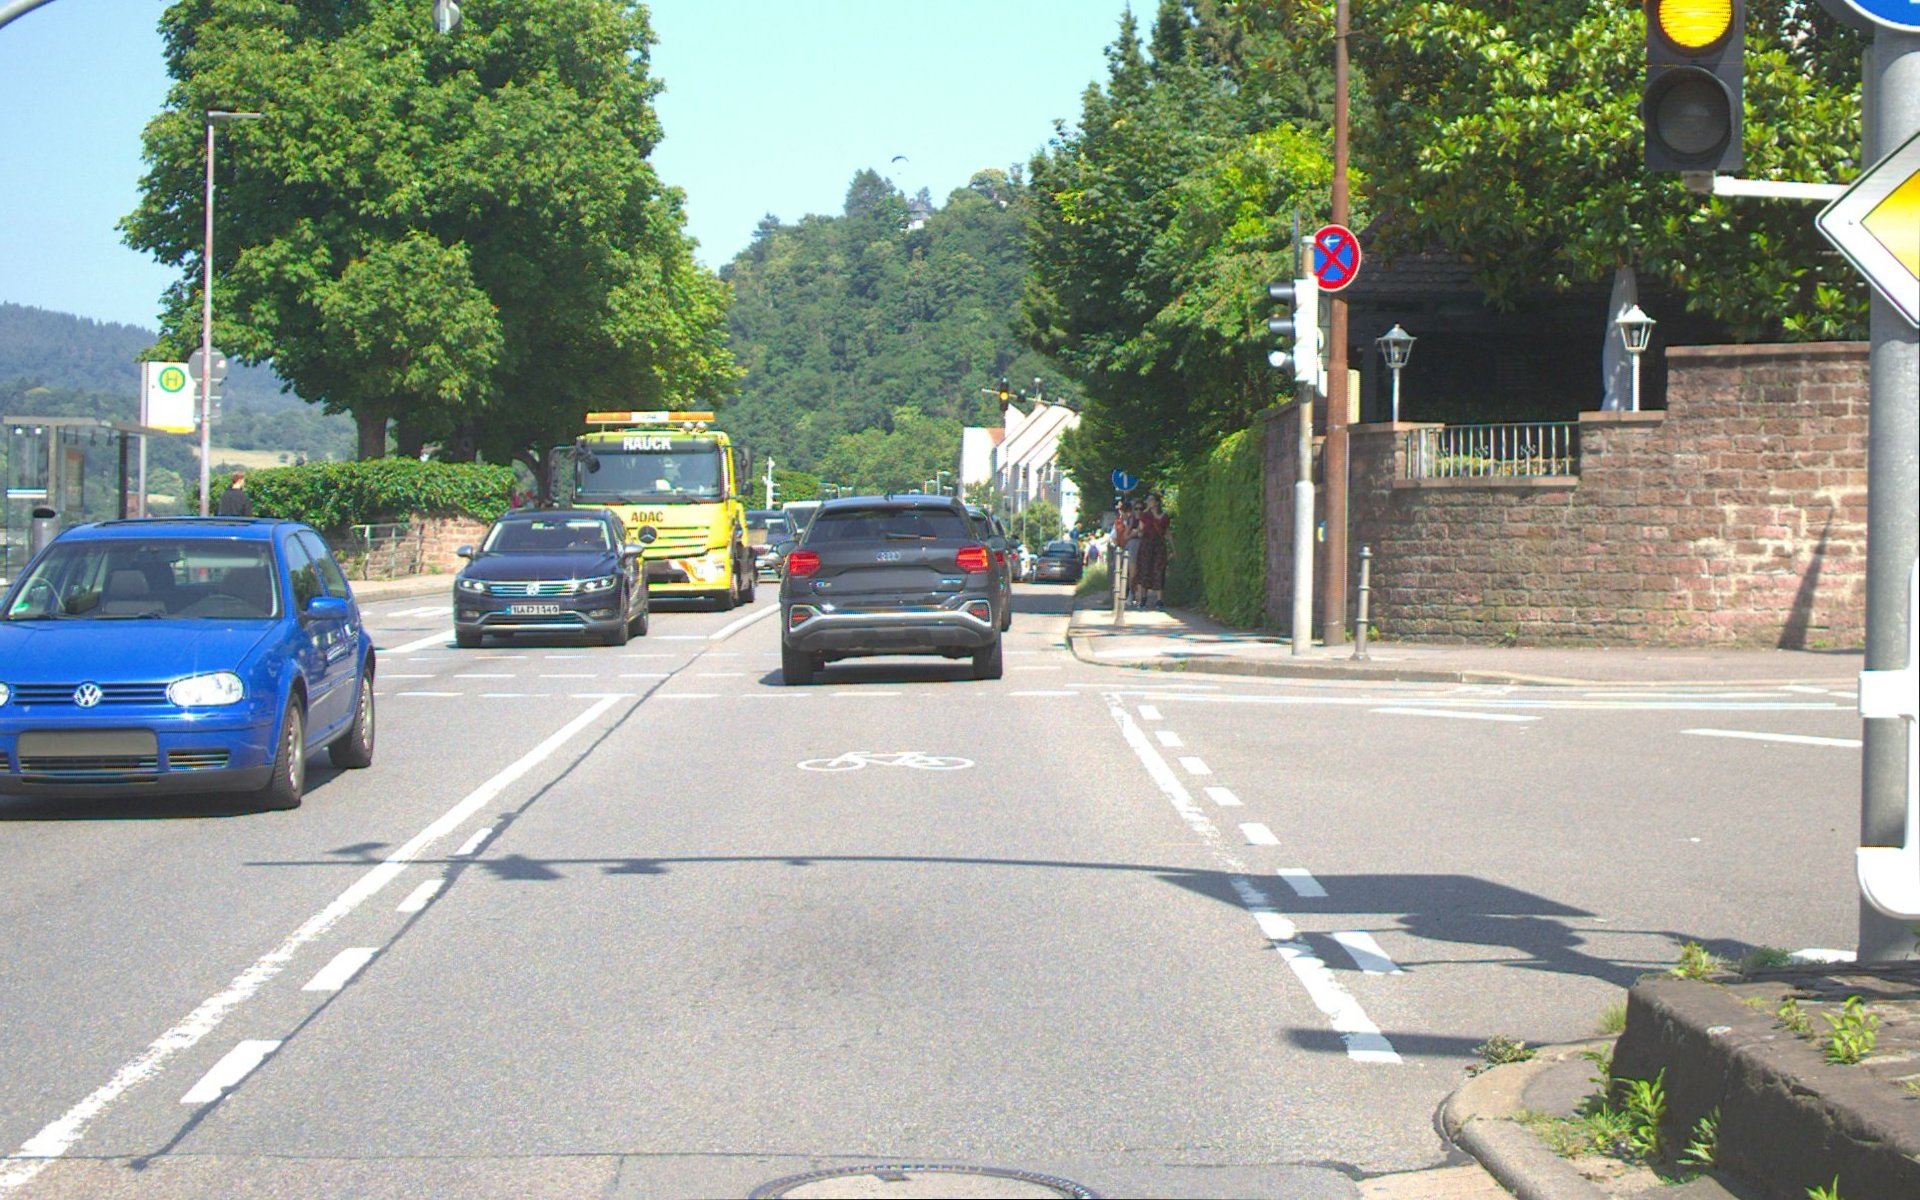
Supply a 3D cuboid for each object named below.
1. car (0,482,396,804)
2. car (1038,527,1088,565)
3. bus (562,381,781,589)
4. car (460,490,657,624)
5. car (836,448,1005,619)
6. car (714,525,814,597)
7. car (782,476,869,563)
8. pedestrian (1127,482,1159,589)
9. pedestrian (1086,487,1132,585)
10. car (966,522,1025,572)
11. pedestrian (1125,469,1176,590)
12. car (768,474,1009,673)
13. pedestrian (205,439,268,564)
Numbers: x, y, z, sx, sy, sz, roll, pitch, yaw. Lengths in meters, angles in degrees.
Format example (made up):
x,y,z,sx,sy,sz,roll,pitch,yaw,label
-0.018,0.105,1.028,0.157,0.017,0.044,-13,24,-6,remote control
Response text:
x,y,z,sx,sy,sz,roll,pitch,yaw,label
-4.133,0.144,18.095,1.729,1.485,4.326,0,1,-2,car
4.132,-2.174,138.594,1.993,1.448,4.008,0,0,1,car
-4.236,-1.740,52.100,2.597,2.886,8.448,0,2,0,bus
-4.424,-0.522,38.405,1.808,1.401,4.357,0,2,-2,car
-0.487,-0.798,42.542,1.993,2.007,4.000,0,0,-1,car
-4.117,-0.842,72.842,1.815,1.393,4.347,0,2,1,car
-3.691,-2.263,95.158,2.096,2.294,5.869,0,2,1,car
2.770,-0.974,51.993,0.455,1.600,0.579,0,1,1,pedestrian
2.545,-1.102,58.897,0.728,1.644,0.882,-2,1,2,pedestrian
1.142,-1.685,108.564,1.795,1.476,4.000,2,2,1,car
2.786,-1.045,50.440,0.681,1.736,0.913,1,2,1,pedestrian
-0.631,-0.241,28.756,1.857,1.518,4.001,-1,1,-2,car
-11.292,-1.525,53.683,0.753,1.911,1.009,0,0,1,pedestrian
